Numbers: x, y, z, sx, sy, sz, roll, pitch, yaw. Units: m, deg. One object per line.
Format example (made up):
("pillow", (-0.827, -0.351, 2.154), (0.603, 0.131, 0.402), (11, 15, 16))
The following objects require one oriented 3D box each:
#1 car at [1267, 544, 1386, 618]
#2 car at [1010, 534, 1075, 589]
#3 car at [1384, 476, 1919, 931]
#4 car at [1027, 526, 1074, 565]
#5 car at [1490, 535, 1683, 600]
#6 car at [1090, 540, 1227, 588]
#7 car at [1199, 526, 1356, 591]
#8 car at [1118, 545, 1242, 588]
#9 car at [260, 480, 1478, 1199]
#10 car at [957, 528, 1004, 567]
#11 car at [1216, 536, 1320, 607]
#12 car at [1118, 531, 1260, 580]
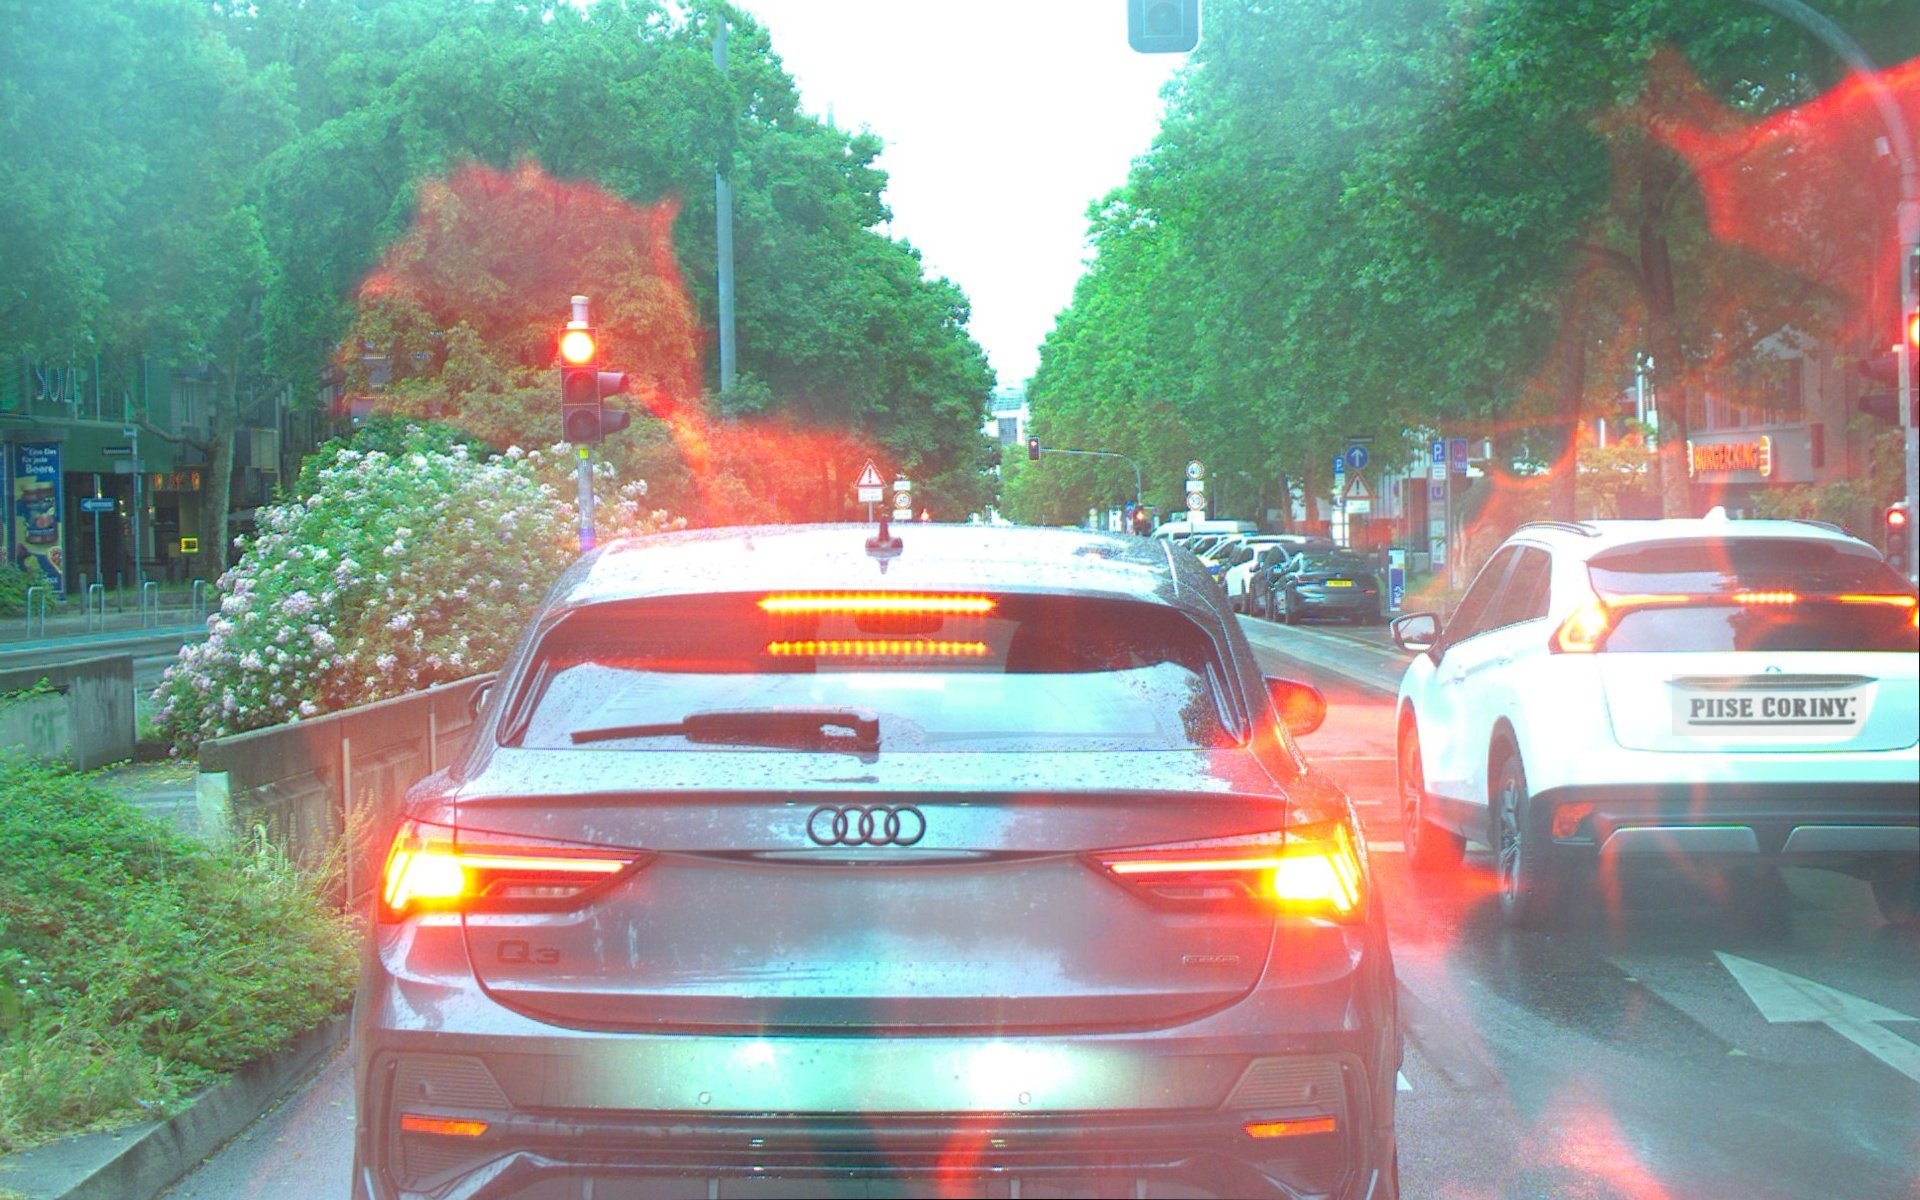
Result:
("car", (7.265, -0.393, 68.513), (1.873, 1.416, 4.611), (1, 1, 0))
("car", (2.675, -1.252, 112.364), (1.993, 1.721, 4.000), (1, 0, 0))
("car", (3.034, 0.380, 14.943), (1.878, 1.691, 4.000), (1, 0, 0))
("car", (3.953, -2.382, 151.153), (1.993, 1.645, 4.000), (1, 0, 1))
("car", (10.662, -0.557, 58.490), (2.889, 1.071, 1.453), (1, 0, 32))
("car", (7.370, -1.346, 127.848), (4.646, 1.700, 1.997), (1, 0, 28))
("car", (10.054, -1.328, 109.025), (4.602, 2.007, 1.964), (1, 0, 39))
("car", (8.989, -1.372, 140.588), (4.646, 1.700, 1.997), (1, 0, 28))
("car", (-0.162, 0.586, 7.232), (1.849, 1.596, 4.000), (0, 1, -1))
("car", (0.867, -2.243, 146.859), (1.896, 1.593, 3.939), (1, 0, -1))
("car", (7.061, -0.654, 79.078), (1.727, 1.566, 4.074), (1, 0, -4))
("car", (8.218, -1.591, 123.255), (4.646, 1.700, 1.997), (1, 0, 28))
